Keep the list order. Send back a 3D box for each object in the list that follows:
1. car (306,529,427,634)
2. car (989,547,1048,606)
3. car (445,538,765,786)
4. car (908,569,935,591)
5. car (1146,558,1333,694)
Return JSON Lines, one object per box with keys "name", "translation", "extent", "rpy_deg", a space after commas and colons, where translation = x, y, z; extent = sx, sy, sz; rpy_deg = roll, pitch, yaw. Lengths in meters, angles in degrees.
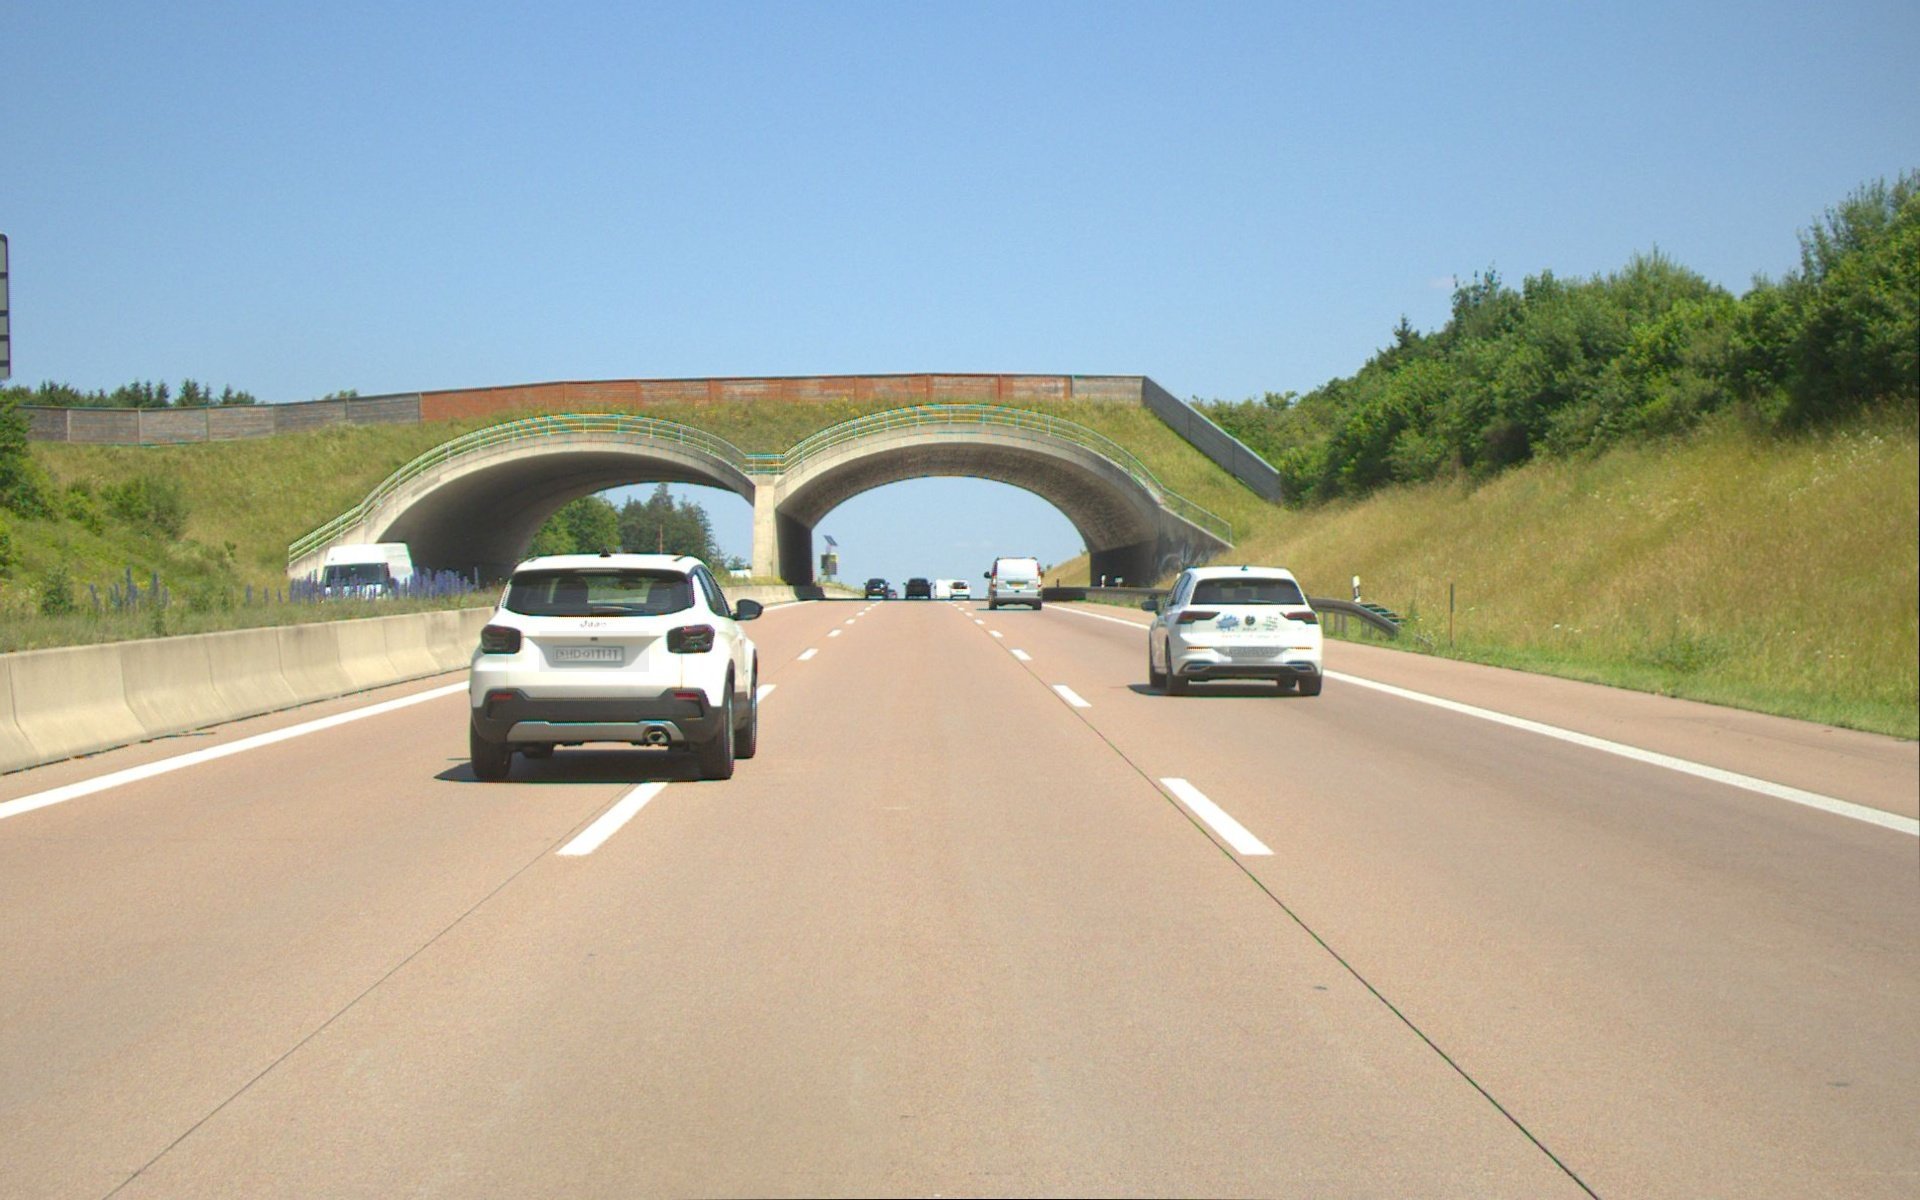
{"name": "car", "translation": [-17.735, -0.609, 103.066], "extent": [2.409, 2.959, 7.503], "rpy_deg": [0, 2, -1]}
{"name": "car", "translation": [2.134, -0.888, 125.529], "extent": [2.110, 2.047, 4.000], "rpy_deg": [0, 2, 1]}
{"name": "car", "translation": [-2.453, 0.363, 24.855], "extent": [1.879, 1.602, 4.834], "rpy_deg": [0, 1, -1]}
{"name": "car", "translation": [-2.695, -1.395, 240.722], "extent": [1.891, 1.458, 4.000], "rpy_deg": [1, 1, 0]}
{"name": "car", "translation": [3.165, 0.261, 39.656], "extent": [1.891, 1.393, 4.000], "rpy_deg": [1, 2, 1]}
